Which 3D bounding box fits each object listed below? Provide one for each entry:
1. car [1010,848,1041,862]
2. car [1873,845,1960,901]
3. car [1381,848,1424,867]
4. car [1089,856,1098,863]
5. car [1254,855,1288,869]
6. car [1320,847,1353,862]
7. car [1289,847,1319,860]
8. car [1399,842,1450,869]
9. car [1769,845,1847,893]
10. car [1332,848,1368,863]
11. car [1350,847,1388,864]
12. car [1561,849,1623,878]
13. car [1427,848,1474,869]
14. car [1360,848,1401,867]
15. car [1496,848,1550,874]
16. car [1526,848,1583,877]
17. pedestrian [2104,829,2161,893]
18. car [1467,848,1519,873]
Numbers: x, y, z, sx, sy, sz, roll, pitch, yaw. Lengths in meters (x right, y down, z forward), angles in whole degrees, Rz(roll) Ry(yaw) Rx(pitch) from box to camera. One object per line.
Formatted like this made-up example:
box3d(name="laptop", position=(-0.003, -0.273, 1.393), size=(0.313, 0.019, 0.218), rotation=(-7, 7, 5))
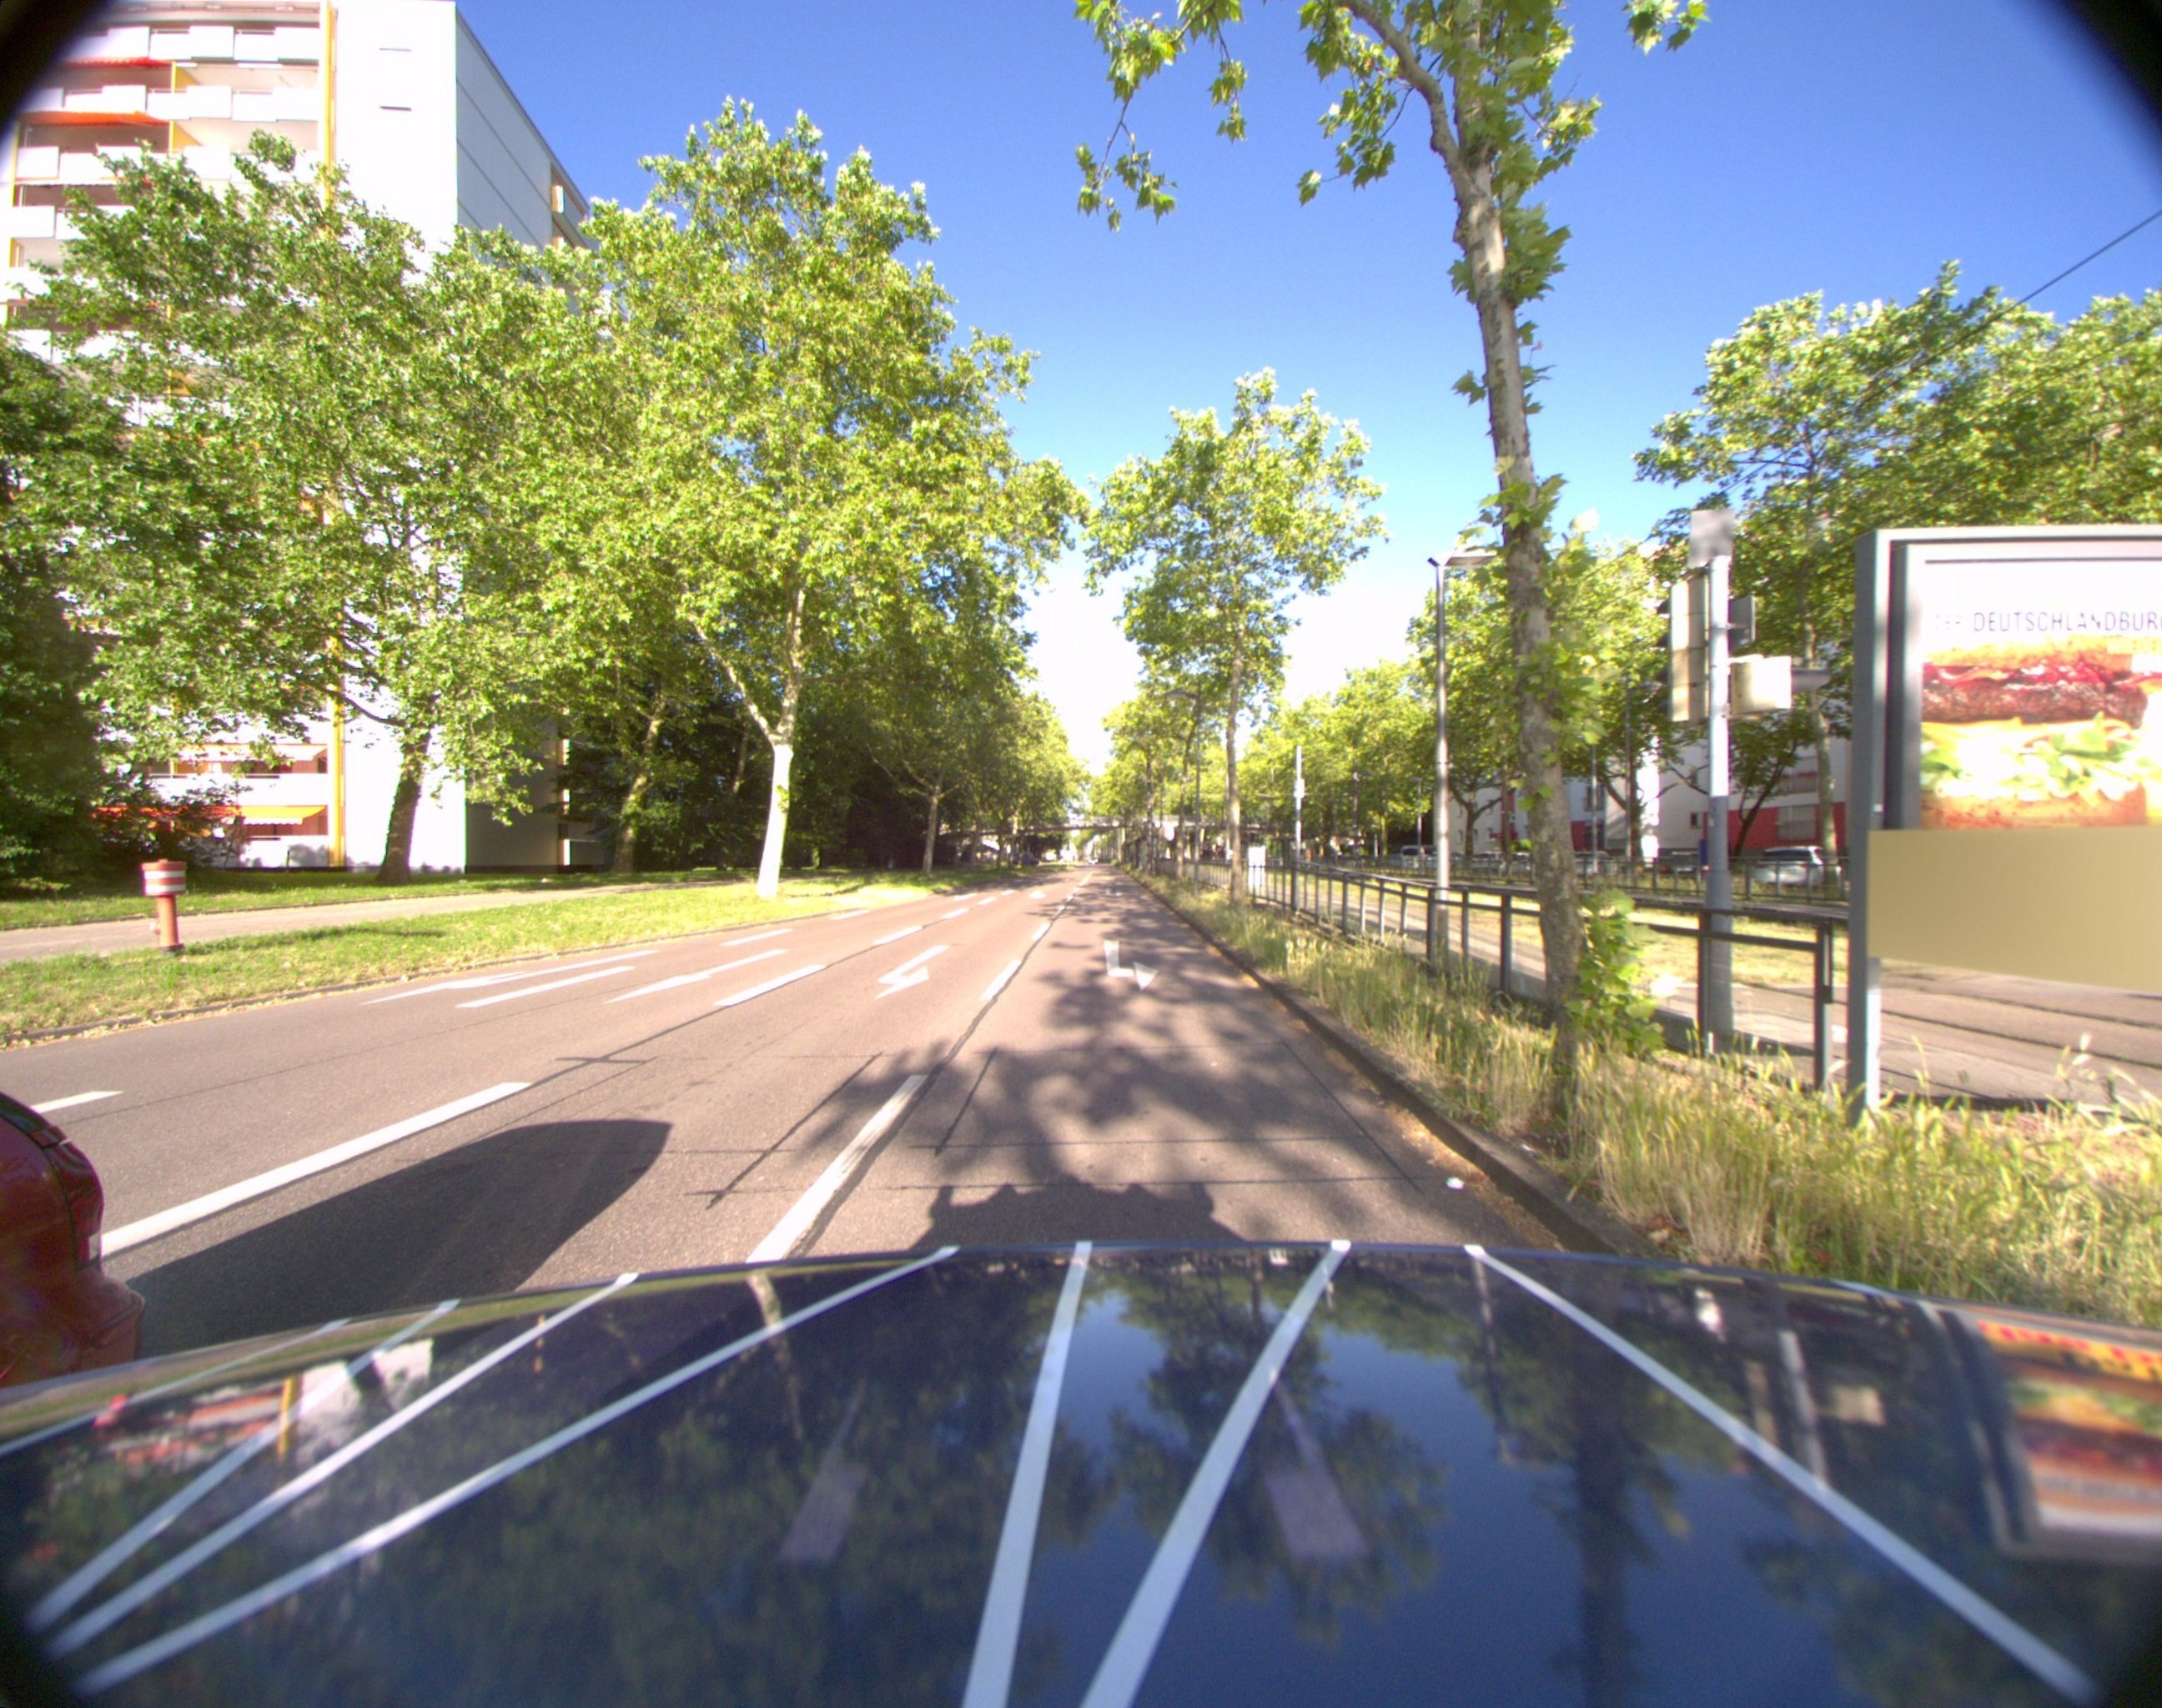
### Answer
box3d(name="car", position=(-8.667, 0.169, 119.000), size=(4.720, 1.924, 1.906), rotation=(-2, 0, -8))
box3d(name="car", position=(25.246, 0.526, 22.966), size=(3.811, 1.501, 1.652), rotation=(-2, 0, -42))
box3d(name="car", position=(25.734, 0.272, 60.752), size=(3.811, 1.433, 1.652), rotation=(-2, 0, -42))
box3d(name="car", position=(2.342, 1.024, 142.830), size=(1.580, 1.395, 3.638), rotation=(-2, 0, 0))
box3d(name="car", position=(21.328, 0.879, 85.307), size=(1.657, 1.501, 4.637), rotation=(-2, 0, -15))
box3d(name="car", position=(26.791, 0.048, 79.625), size=(3.811, 1.433, 1.652), rotation=(-2, 0, -42))
box3d(name="car", position=(26.444, -0.044, 89.975), size=(3.811, 1.433, 1.652), rotation=(-2, 0, -42))
box3d(name="car", position=(25.822, 0.092, 57.030), size=(4.330, 1.863, 1.836), rotation=(-2, 0, -42))
box3d(name="car", position=(25.360, 0.491, 26.475), size=(3.811, 1.501, 1.652), rotation=(-2, 0, -42))
box3d(name="car", position=(26.071, 0.136, 73.565), size=(3.811, 1.433, 1.652), rotation=(-2, 0, -42))
box3d(name="car", position=(26.624, 0.138, 70.134), size=(3.811, 1.433, 1.652), rotation=(-2, 0, -42))
box3d(name="car", position=(25.385, 0.450, 37.698), size=(3.811, 1.348, 1.652), rotation=(-2, 0, -42))
box3d(name="car", position=(26.306, 0.313, 54.032), size=(3.811, 1.433, 1.652), rotation=(-2, 0, -42))
box3d(name="car", position=(24.948, 0.275, 63.209), size=(3.811, 1.433, 1.652), rotation=(-2, 0, -42))
box3d(name="car", position=(26.102, 0.409, 44.864), size=(3.811, 1.433, 1.652), rotation=(-2, 0, -42))
box3d(name="car", position=(25.866, 0.445, 41.479), size=(3.811, 1.433, 1.652), rotation=(-2, 0, -42))
box3d(name="pedestrian", position=(29.511, 0.183, 21.244), size=(0.764, 1.723, 0.786), rotation=(-2, 1, -1))
box3d(name="car", position=(25.854, 0.400, 47.679), size=(3.811, 1.433, 1.652), rotation=(-2, 0, -42))
